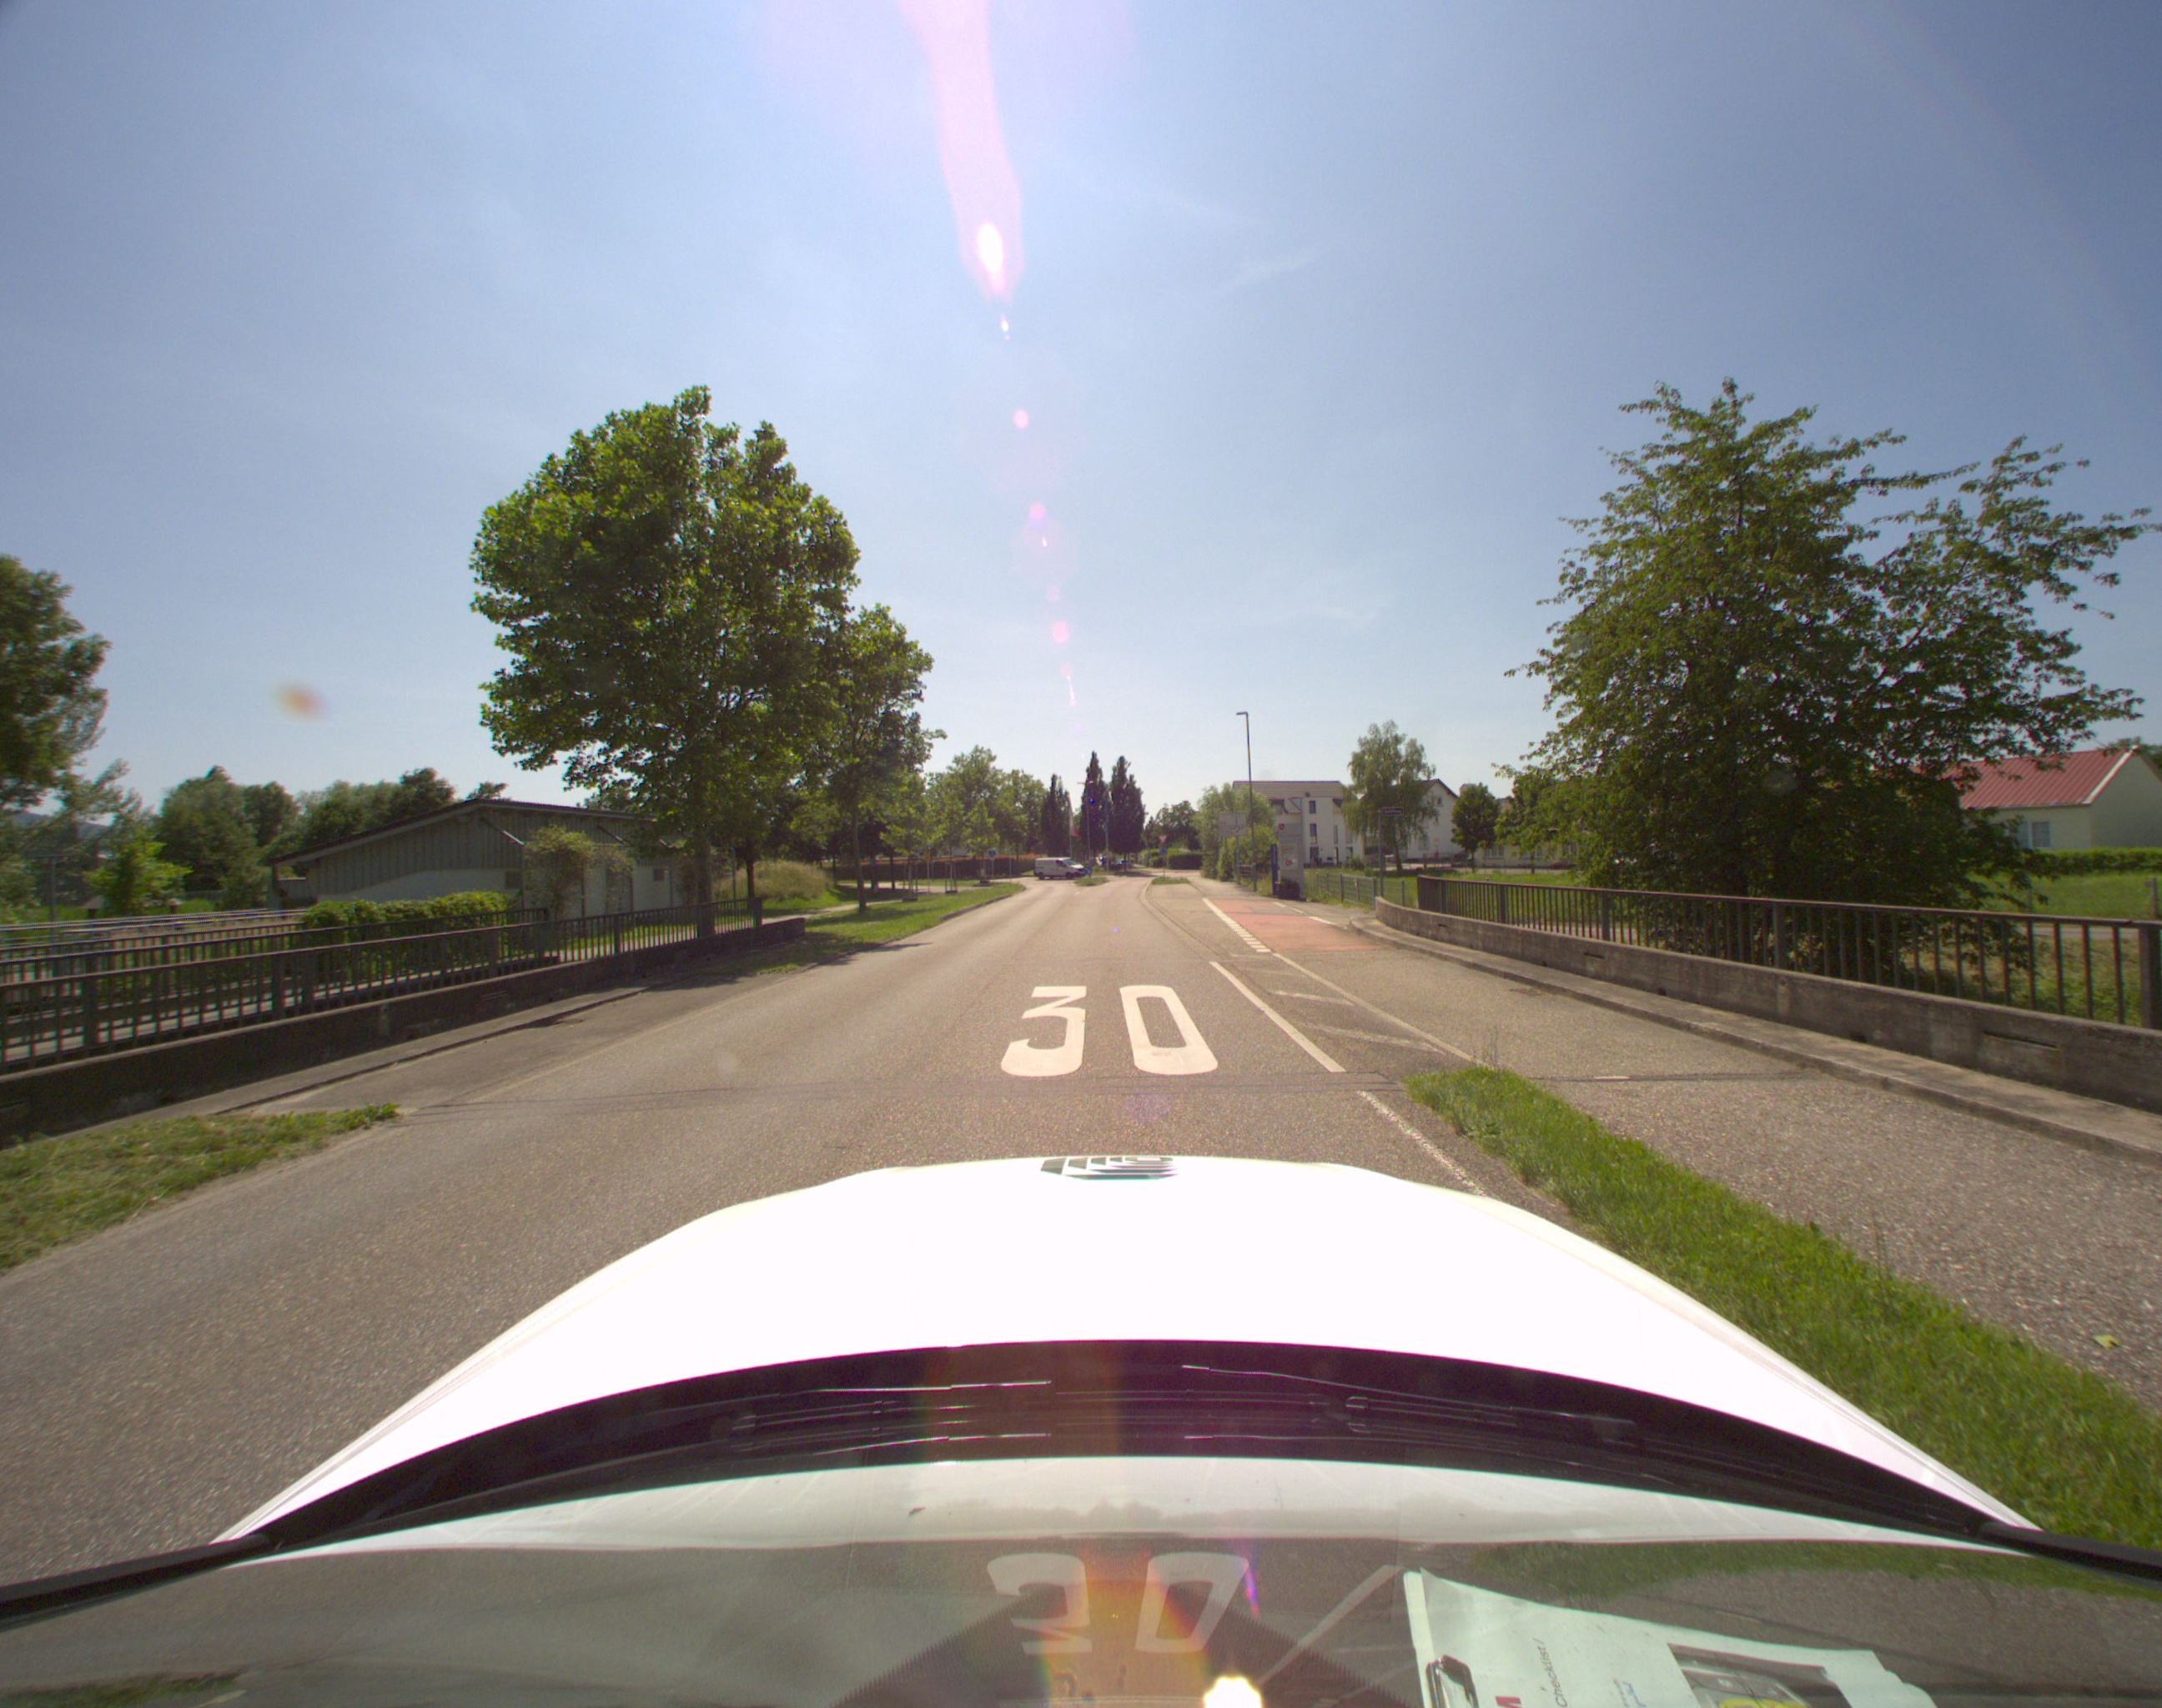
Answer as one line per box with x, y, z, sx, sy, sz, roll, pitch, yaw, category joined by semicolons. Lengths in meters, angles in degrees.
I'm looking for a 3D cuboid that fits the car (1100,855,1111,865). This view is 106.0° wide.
4.751;1.196;157.111;1.987;1.770;3.999;-1;-1;0;car

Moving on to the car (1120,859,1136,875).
5.940;1.637;102.878;1.916;1.886;4.000;-1;-1;1;car

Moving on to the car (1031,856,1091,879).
-1.884;1.276;75.131;5.083;2.014;2.147;-1;-1;28;car

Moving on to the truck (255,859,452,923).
-28.193;1.344;31.908;2.976;2.216;5.172;-1;0;1;truck
